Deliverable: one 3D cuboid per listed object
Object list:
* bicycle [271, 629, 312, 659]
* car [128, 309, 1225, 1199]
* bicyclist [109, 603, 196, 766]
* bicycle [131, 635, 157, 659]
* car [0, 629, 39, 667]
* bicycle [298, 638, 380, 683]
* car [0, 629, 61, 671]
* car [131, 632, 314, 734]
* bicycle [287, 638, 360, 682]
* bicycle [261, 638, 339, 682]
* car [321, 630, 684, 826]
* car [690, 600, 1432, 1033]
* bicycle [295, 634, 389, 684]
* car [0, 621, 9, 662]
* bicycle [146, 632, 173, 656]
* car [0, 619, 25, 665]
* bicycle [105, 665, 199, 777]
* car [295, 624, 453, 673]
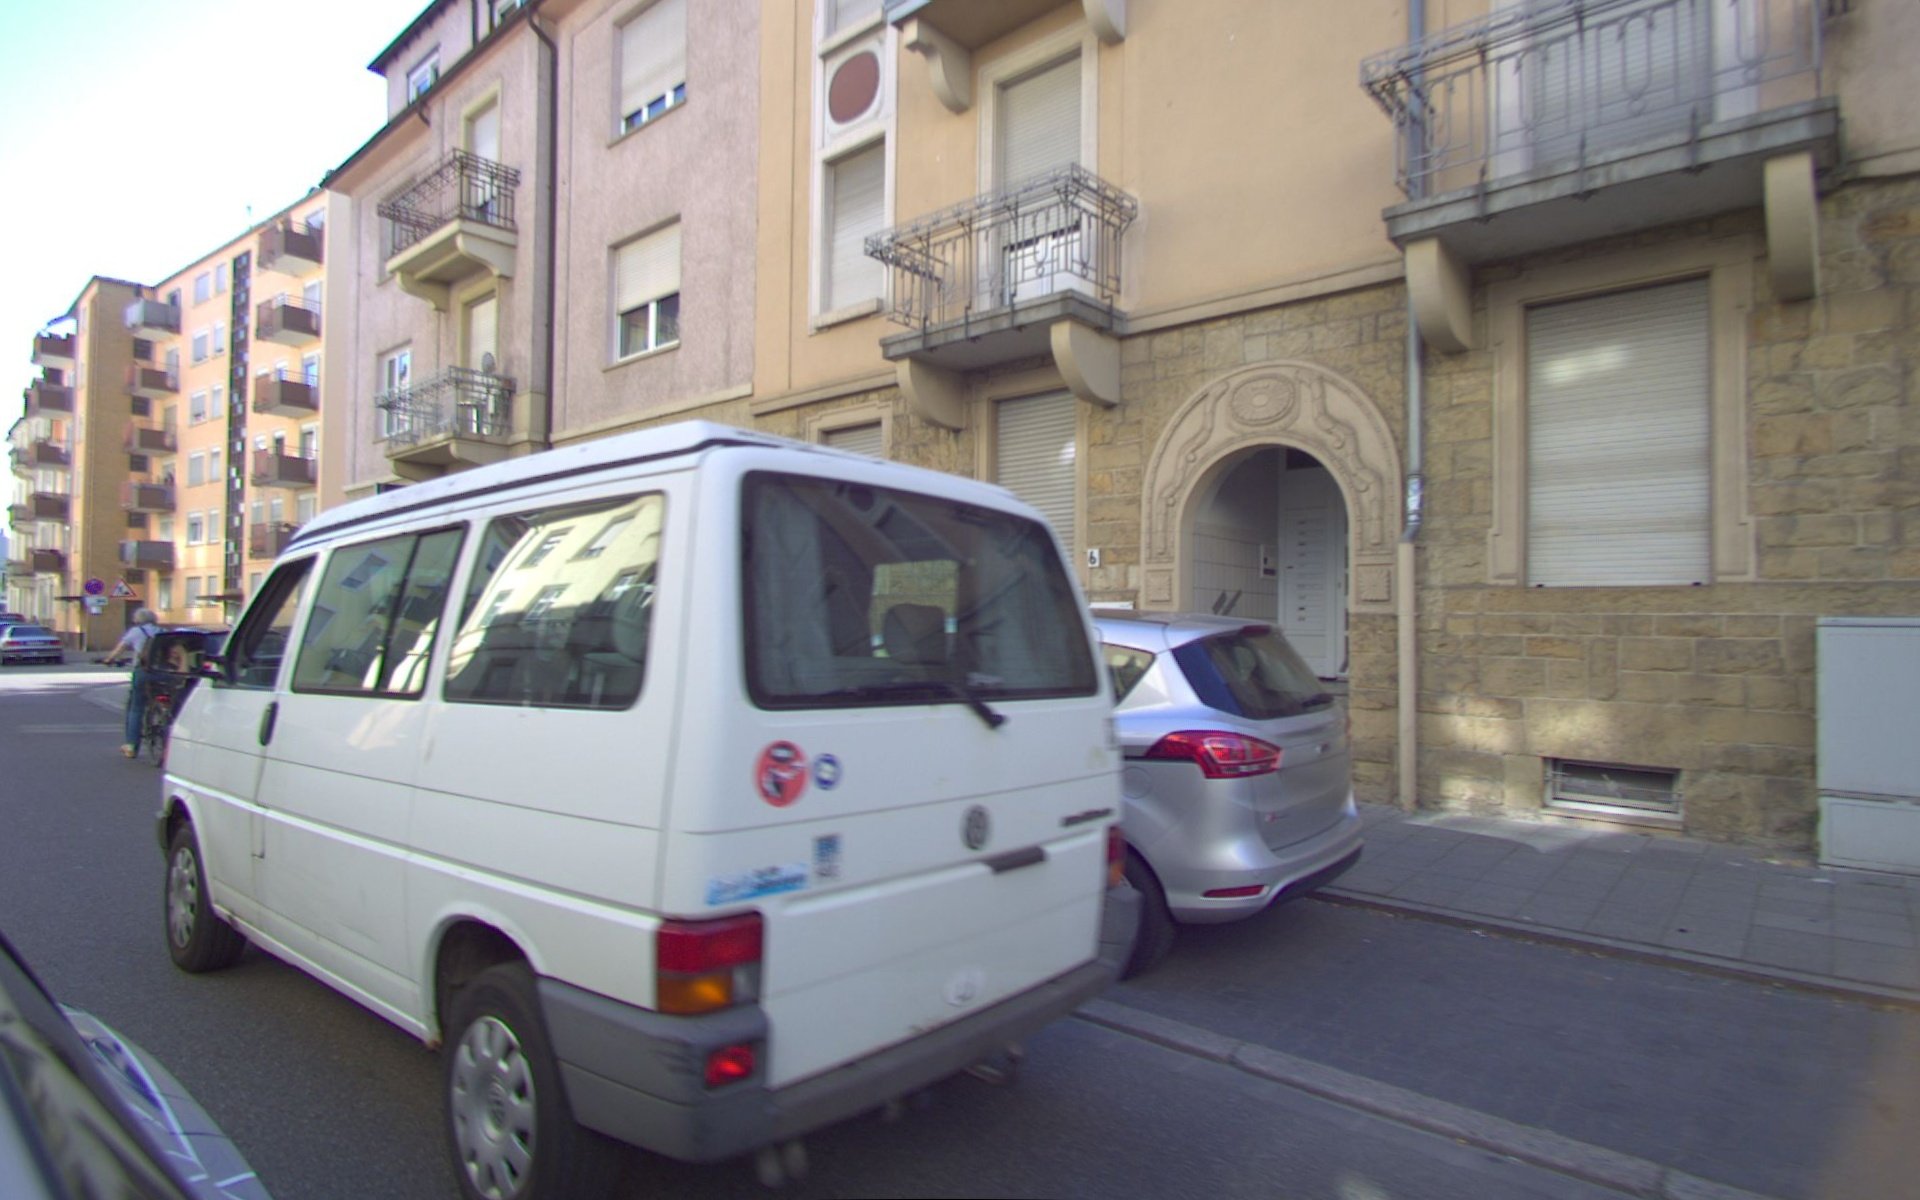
[{"bbox_3d":[-25.562,1.672,38.685,1.802,1.116,0.680,-2,-3,36],"label":"bicycle"},{"bbox_3d":[-1.525,0.561,3.899,4.597,1.952,1.844,-2,-3,41],"label":"car"},{"bbox_3d":[-8.702,0.885,10.909,0.632,1.678,0.601,-2,-3,42],"label":"bicyclist"},{"bbox_3d":[-38.400,2.189,47.604,1.802,1.116,0.488,-2,-3,36],"label":"bicycle"},{"bbox_3d":[-37.139,1.851,39.344,3.285,1.433,1.656,-2,-3,42],"label":"car"},{"bbox_3d":[-16.566,1.606,27.043,0.434,1.156,1.841,-1,-2,31],"label":"bicycle"},{"bbox_3d":[-33.382,1.764,36.057,3.500,1.433,1.656,-2,-3,42],"label":"car"},{"bbox_3d":[-12.302,1.285,16.798,3.864,1.397,1.696,-2,0,43],"label":"car"},{"bbox_3d":[-17.119,1.603,27.259,0.434,1.156,1.647,-1,-2,29],"label":"bicycle"},{"bbox_3d":[-17.918,1.612,27.511,0.593,1.156,1.644,-2,-3,36],"label":"bicycle"},{"bbox_3d":[-4.621,1.078,9.959,4.108,1.533,1.696,-2,-3,41],"label":"car"},{"bbox_3d":[0.337,0.842,5.510,3.721,1.550,1.697,-2,-3,40],"label":"car"},{"bbox_3d":[-14.740,1.384,24.171,0.694,1.144,1.787,-2,-3,39],"label":"bicycle"},{"bbox_3d":[-45.826,1.936,47.183,4.110,1.892,1.798,-2,-3,42],"label":"car"},{"bbox_3d":[-38.040,2.094,48.089,1.802,1.116,0.488,-2,-3,36],"label":"bicycle"},{"bbox_3d":[-41.401,1.787,43.227,4.110,1.892,1.798,-2,-3,42],"label":"car"},{"bbox_3d":[-8.815,1.269,11.016,1.800,1.084,0.534,-2,-3,43],"label":"bicycle"},{"bbox_3d":[-20.140,1.653,34.952,1.776,1.572,4.403,-1,-3,34],"label":"car"}]
